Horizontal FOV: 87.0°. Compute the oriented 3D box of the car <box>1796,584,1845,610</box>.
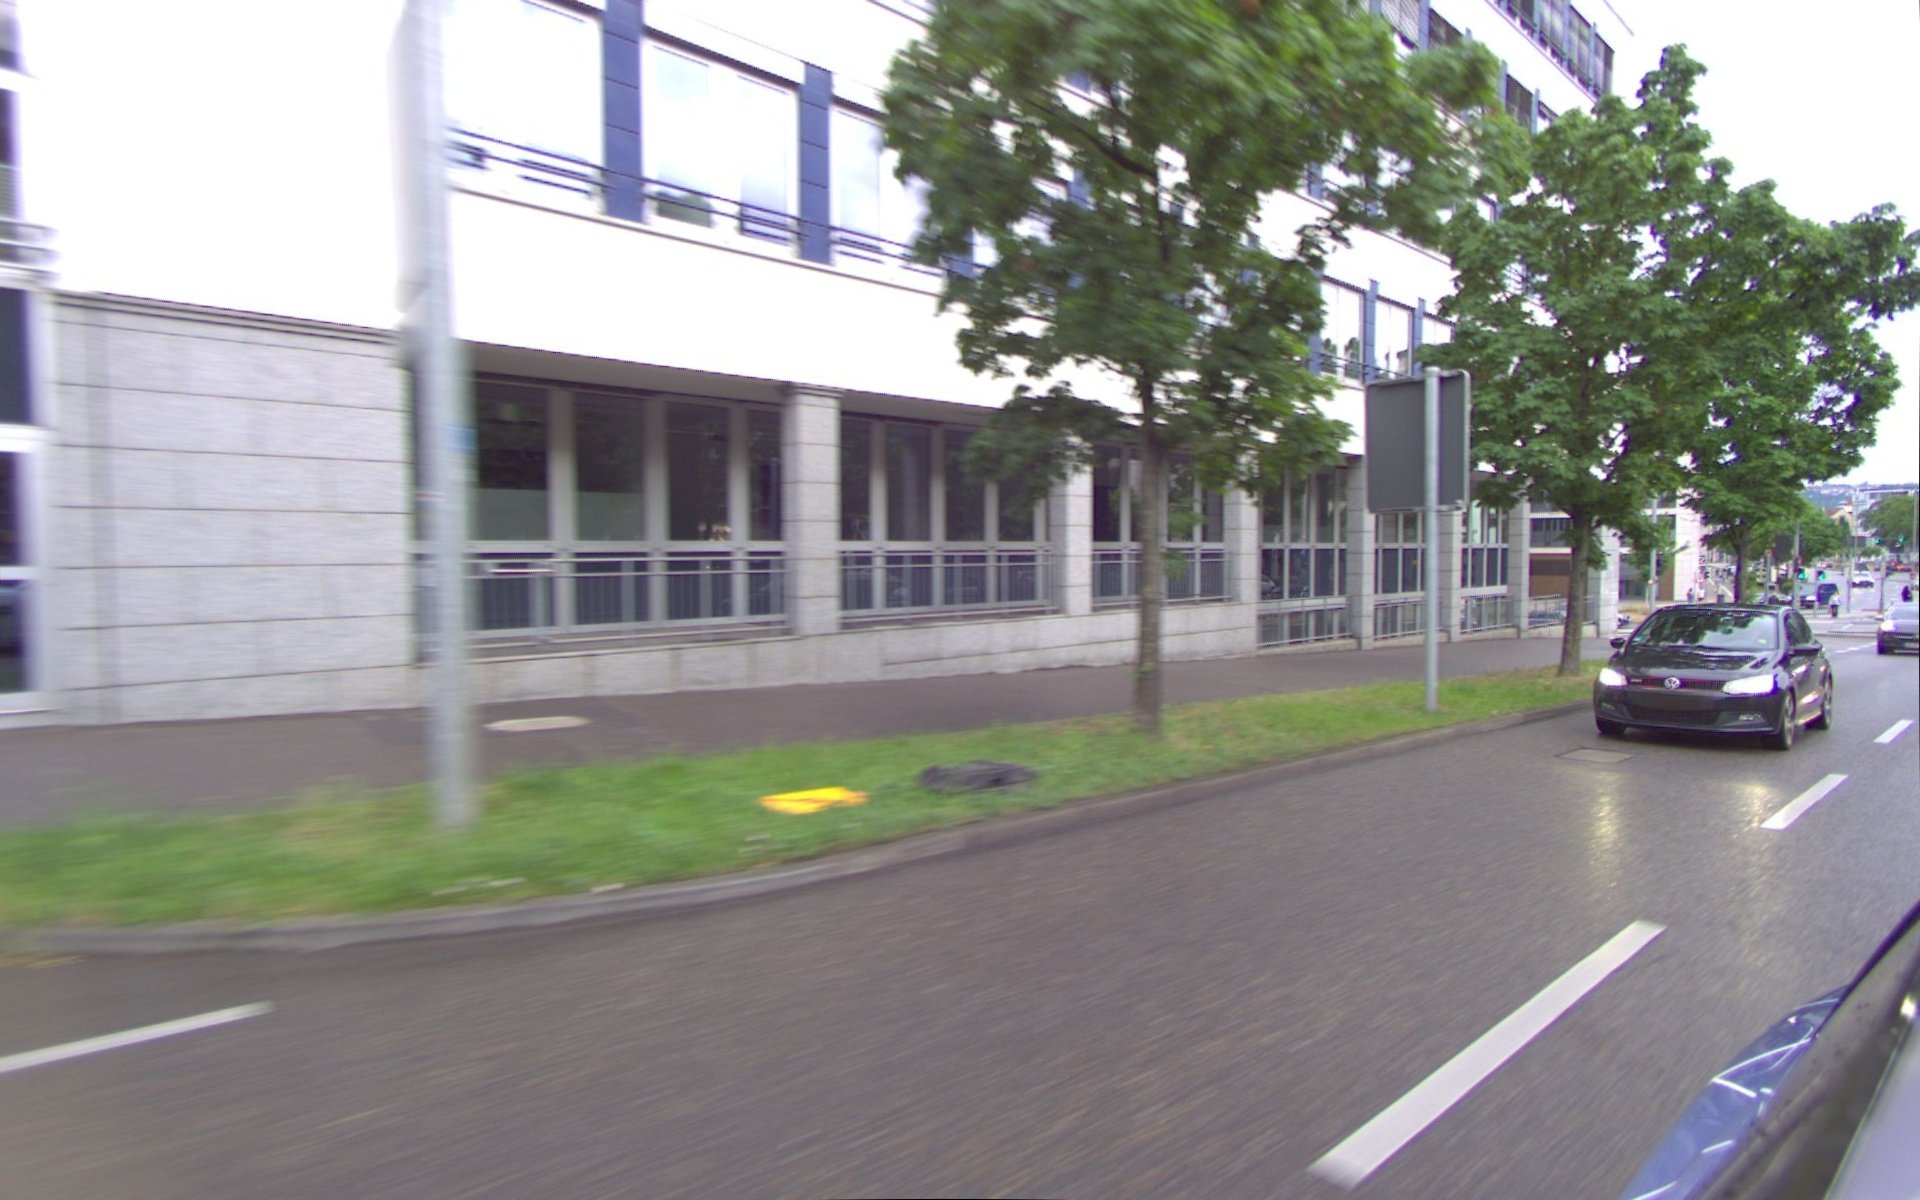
[{"bbox_3d":[66.261,-0.233,77.881,4.210,1.885,1.800,-1,1,-34],"label":"car"}]

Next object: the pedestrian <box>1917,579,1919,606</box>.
[{"bbox_3d":[63.939,-0.489,67.176,0.602,1.825,0.579,0,0,41],"label":"pedestrian"}]

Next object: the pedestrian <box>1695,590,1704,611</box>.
[{"bbox_3d":[59.410,0.022,81.329,0.584,1.629,0.597,-1,0,35],"label":"pedestrian"}]

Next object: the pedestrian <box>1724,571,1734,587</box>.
[{"bbox_3d":[72.441,-2.000,95.348,0.582,1.496,0.599,-1,0,27],"label":"pedestrian"}]

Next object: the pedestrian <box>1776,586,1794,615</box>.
[{"bbox_3d":[47.727,0.020,58.567,0.633,1.645,0.707,-1,0,-40],"label":"pedestrian"}]

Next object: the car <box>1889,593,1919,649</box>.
[{"bbox_3d":[27.446,0.565,28.291,3.641,1.459,1.750,-1,1,-40],"label":"car"}]

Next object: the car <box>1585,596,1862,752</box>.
[{"bbox_3d":[8.509,0.691,11.176,3.781,1.417,1.677,1,0,-41],"label":"car"}]

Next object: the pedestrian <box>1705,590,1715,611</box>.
[{"bbox_3d":[59.931,0.028,80.859,0.584,1.629,0.597,-1,0,35],"label":"pedestrian"}]

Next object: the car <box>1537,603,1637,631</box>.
[{"bbox_3d":[35.264,0.962,57.001,1.826,1.408,4.473,-3,0,-43],"label":"car"}]

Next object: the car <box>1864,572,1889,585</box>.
[{"bbox_3d":[110.364,-2.612,121.907,1.789,1.529,3.949,-1,1,36],"label":"car"}]

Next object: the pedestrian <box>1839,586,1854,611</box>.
[{"bbox_3d":[54.009,-0.109,61.658,0.582,1.496,0.599,-1,0,27],"label":"pedestrian"}]
